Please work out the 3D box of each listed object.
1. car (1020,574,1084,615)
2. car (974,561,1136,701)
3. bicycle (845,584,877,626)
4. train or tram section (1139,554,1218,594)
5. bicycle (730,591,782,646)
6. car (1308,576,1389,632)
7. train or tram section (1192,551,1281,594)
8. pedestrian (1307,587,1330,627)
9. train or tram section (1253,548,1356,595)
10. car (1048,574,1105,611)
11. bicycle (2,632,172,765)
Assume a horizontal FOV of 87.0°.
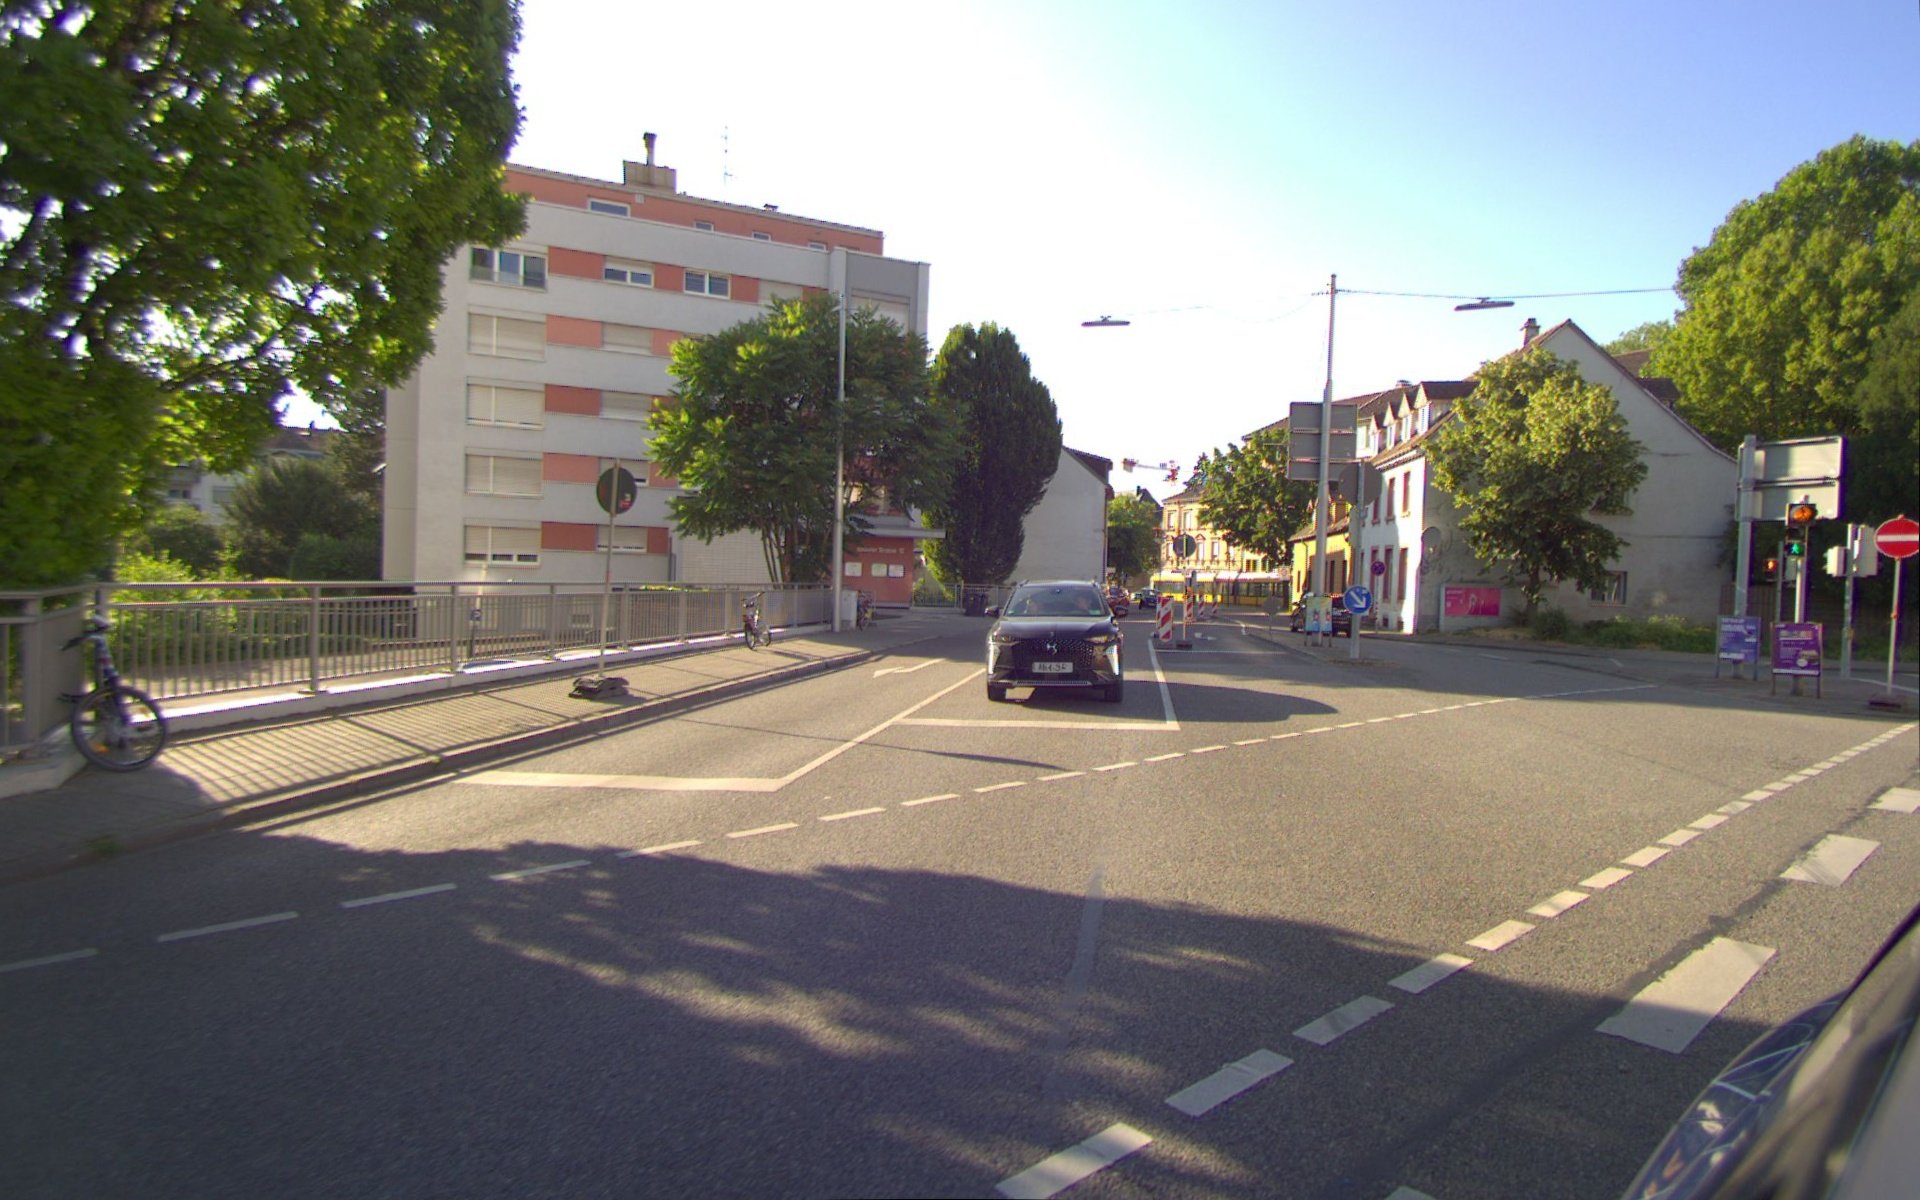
[{"bbox_3d":[4.344,-0.272,47.290,1.975,1.803,4.201,1,0,20],"label":"car"},{"bbox_3d":[1.442,0.346,14.823,1.966,1.691,4.655,-1,1,7],"label":"car"},{"bbox_3d":[-2.942,0.148,30.212,0.698,1.193,2.334,1,0,0],"label":"bicycle"},{"bbox_3d":[21.472,-2.509,100.214,2.788,3.647,9.886,1,0,-20],"label":"train or tram section"},{"bbox_3d":[-4.224,0.371,21.098,0.604,1.082,1.922,1,0,2],"label":"bicycle"},{"bbox_3d":[14.629,0.120,38.371,1.969,1.838,4.239,4,1,10],"label":"car"},{"bbox_3d":[24.774,-2.416,91.358,2.739,3.564,9.287,1,0,-21],"label":"train or tram section"},{"bbox_3d":[17.476,0.335,49.366,0.944,1.861,1.283,1,0,15],"label":"pedestrian"},{"bbox_3d":[27.955,-2.266,82.723,2.739,3.564,9.288,1,0,-20],"label":"train or tram section"},{"bbox_3d":[5.969,-0.372,51.503,1.975,1.803,4.201,1,0,20],"label":"car"},{"bbox_3d":[-6.693,0.729,7.753,1.272,0.915,0.407,1,0,20],"label":"bicycle"}]
